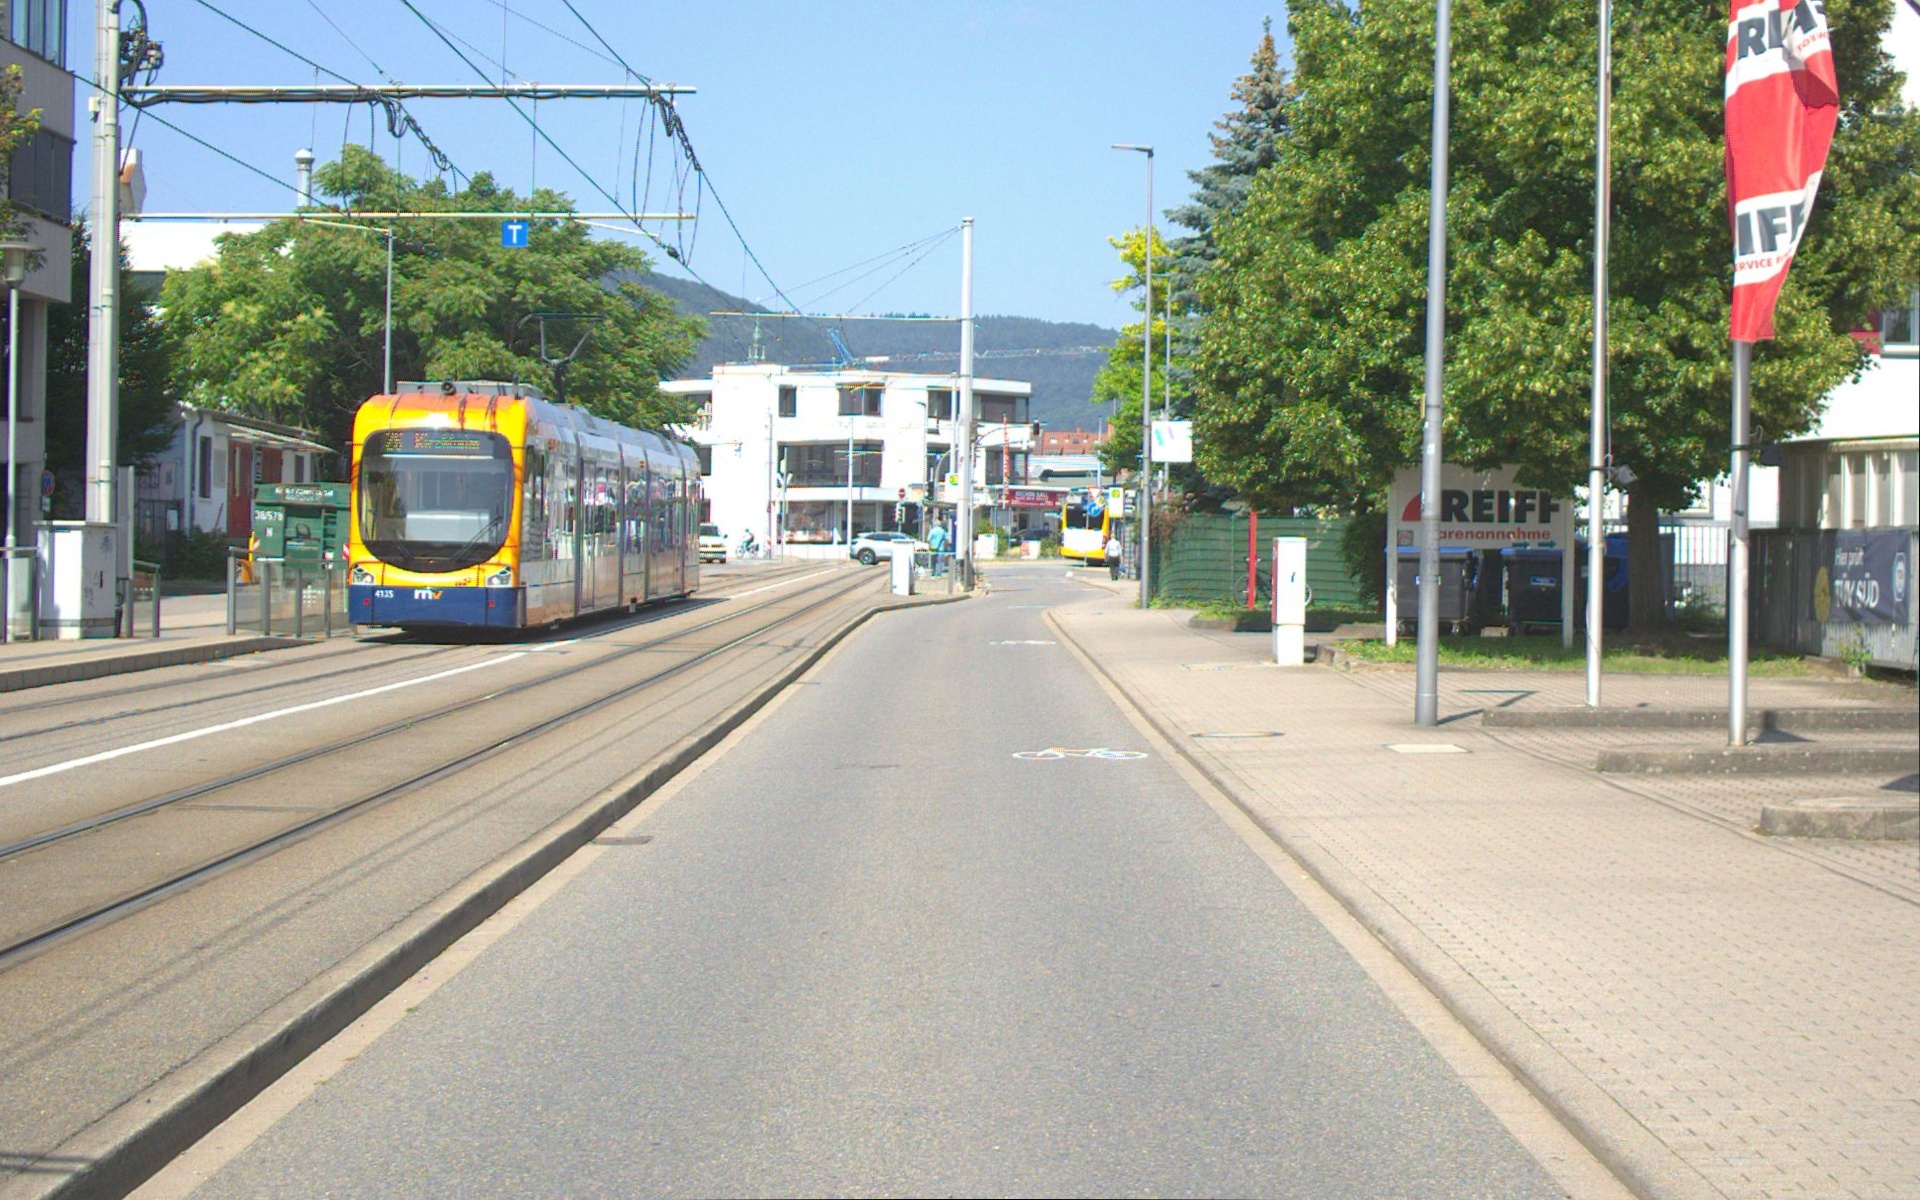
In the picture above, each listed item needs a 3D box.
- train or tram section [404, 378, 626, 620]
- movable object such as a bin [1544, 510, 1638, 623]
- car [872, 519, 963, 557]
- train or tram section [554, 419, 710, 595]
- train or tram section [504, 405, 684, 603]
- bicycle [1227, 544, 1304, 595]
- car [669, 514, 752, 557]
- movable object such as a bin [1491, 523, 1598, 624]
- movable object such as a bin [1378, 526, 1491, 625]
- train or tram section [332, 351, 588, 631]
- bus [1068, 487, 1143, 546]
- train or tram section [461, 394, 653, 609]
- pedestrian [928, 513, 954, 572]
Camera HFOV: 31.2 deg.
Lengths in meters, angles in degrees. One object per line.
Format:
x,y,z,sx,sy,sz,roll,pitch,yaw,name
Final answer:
-6.659,-1.506,52.142,2.611,3.435,5.844,0,1,0,train or tram section
8.853,-0.456,48.298,0.978,1.541,1.321,2,-1,-3,movable object such as a bin
-2.043,-2.961,164.919,3.989,1.744,1.775,1,1,14,car
-6.656,-1.882,70.435,2.580,3.435,6.363,0,1,0,train or tram section
-6.685,-1.756,63.672,2.580,3.435,7.137,0,1,0,train or tram section
6.063,-0.605,68.253,1.471,0.987,0.388,0,-2,0,bicycle
-11.900,-3.092,164.172,1.863,1.930,3.993,4,3,33,car
8.498,-0.377,49.991,1.318,1.425,0.883,1,-1,25,movable object such as a bin
6.998,-0.359,50.660,1.386,1.425,0.989,1,-1,25,movable object such as a bin
-6.632,-1.436,46.350,2.611,3.521,5.743,0,1,0,train or tram section
7.393,-4.210,174.005,2.437,2.870,8.788,1,1,11,bus
-6.677,-1.628,57.579,2.611,3.435,5.011,0,1,0,train or tram section
-0.555,-1.692,101.452,0.743,1.734,0.727,0,1,0,pedestrian
